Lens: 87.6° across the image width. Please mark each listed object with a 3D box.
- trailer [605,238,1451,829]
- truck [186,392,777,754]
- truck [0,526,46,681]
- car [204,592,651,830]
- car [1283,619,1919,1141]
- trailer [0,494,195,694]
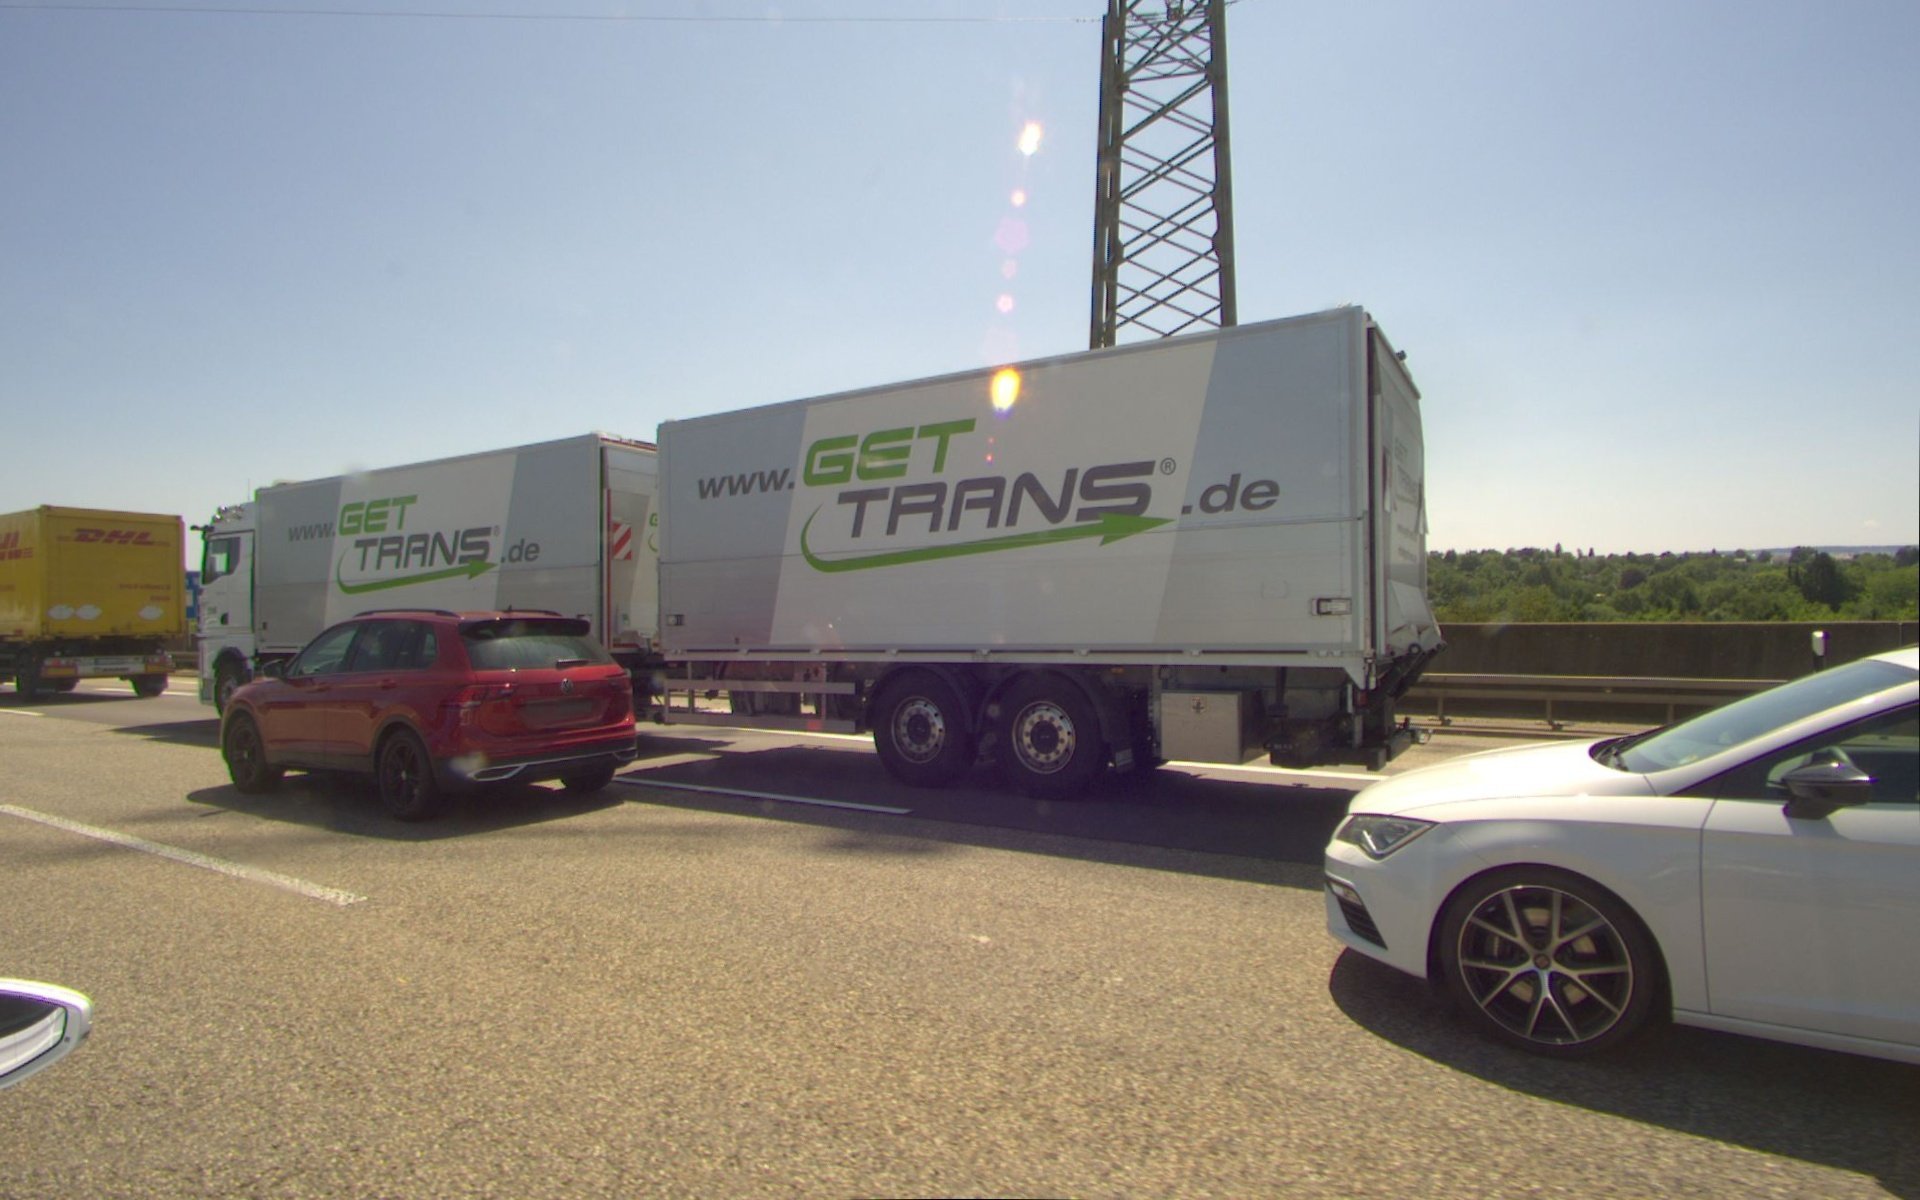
[{"bbox_3d":[0.280,-0.303,10.063,8.097,3.940,2.894,-2,-2,32],"label":"trailer"},{"bbox_3d":[-7.624,-0.122,14.993,10.459,3.984,2.847,-2,-2,32],"label":"truck"},{"bbox_3d":[-30.015,0.218,28.923,9.796,4.139,2.696,-2,-2,31],"label":"truck"},{"bbox_3d":[-4.878,0.872,9.010,4.224,1.700,1.705,-2,-2,32],"label":"car"},{"bbox_3d":[3.505,0.809,3.334,4.365,1.470,1.706,-1,-2,32],"label":"car"},{"bbox_3d":[-22.038,0.030,24.120,8.850,4.139,2.679,-2,-2,31],"label":"trailer"}]
